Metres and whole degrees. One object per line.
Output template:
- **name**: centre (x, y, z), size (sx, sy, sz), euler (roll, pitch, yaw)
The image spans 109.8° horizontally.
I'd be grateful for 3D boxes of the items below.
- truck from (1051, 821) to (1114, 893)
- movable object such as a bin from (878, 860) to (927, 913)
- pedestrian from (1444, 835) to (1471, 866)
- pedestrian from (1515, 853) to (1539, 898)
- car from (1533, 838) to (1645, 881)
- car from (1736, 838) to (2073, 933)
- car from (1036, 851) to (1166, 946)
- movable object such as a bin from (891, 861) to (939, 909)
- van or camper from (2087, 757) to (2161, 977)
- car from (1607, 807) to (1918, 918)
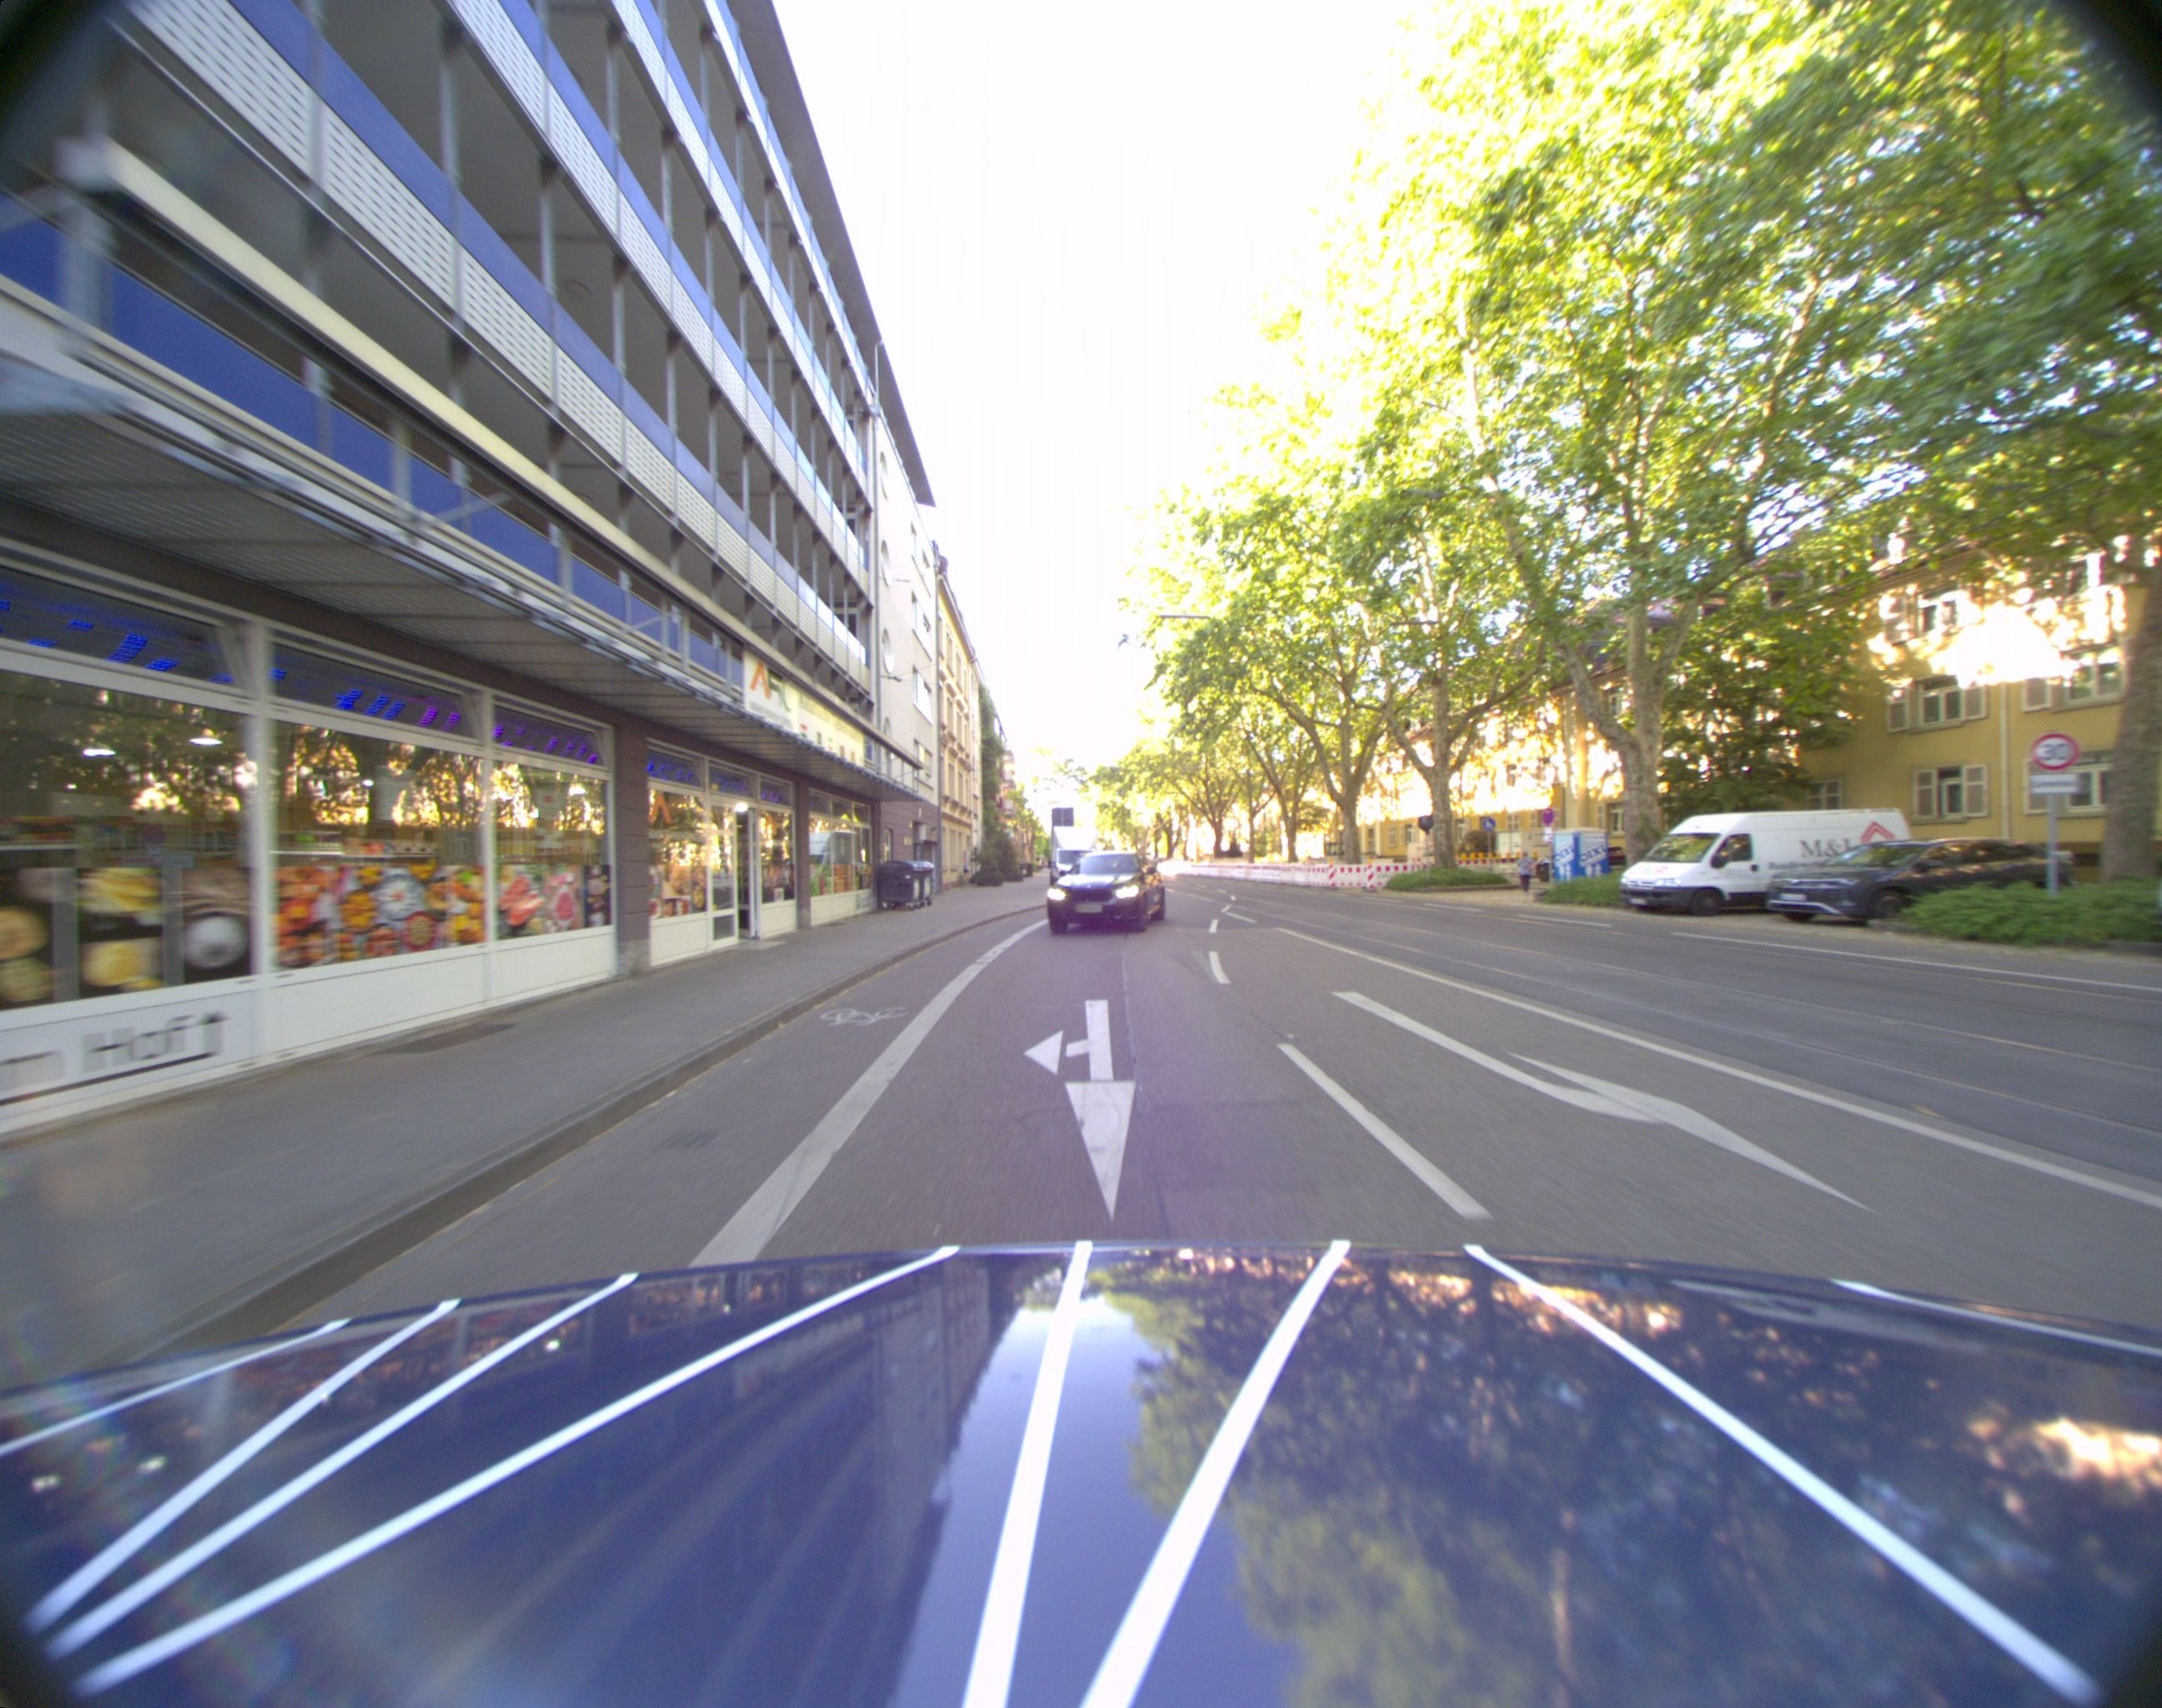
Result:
- **truck**: centre (-0.088, 0.151, 38.461), size (2.385, 3.165, 8.525), euler (2, 0, -5)
- **movable object such as a bin**: centre (-5.130, 0.917, 21.907), size (1.069, 1.438, 1.296), euler (-1, 0, 0)
- **pedestrian**: centre (24.428, -0.234, 49.323), size (1.098, 2.002, 1.235), euler (-1, 0, -4)
- **pedestrian**: centre (15.895, 0.752, 27.094), size (0.595, 1.563, 0.718), euler (-1, 0, 17)
- **car**: centre (21.088, 0.225, 31.752), size (1.829, 1.592, 4.221), euler (-3, 0, 1)
- **car**: centre (15.997, 0.572, 14.946), size (4.575, 1.621, 1.969), euler (-1, 0, -2)
- **car**: centre (0.609, 0.847, 16.581), size (1.941, 1.733, 4.479), euler (-2, 0, 13)
- **movable object such as a bin**: centre (-5.178, 0.948, 23.803), size (1.122, 1.437, 1.306), euler (-1, 0, 4)
- **van or camper**: centre (16.109, 0.049, 8.772), size (6.127, 2.661, 2.229), euler (-2, 0, -1)
- **car**: centre (15.924, 0.186, 17.973), size (5.612, 2.361, 2.025), euler (-1, 0, -1)
